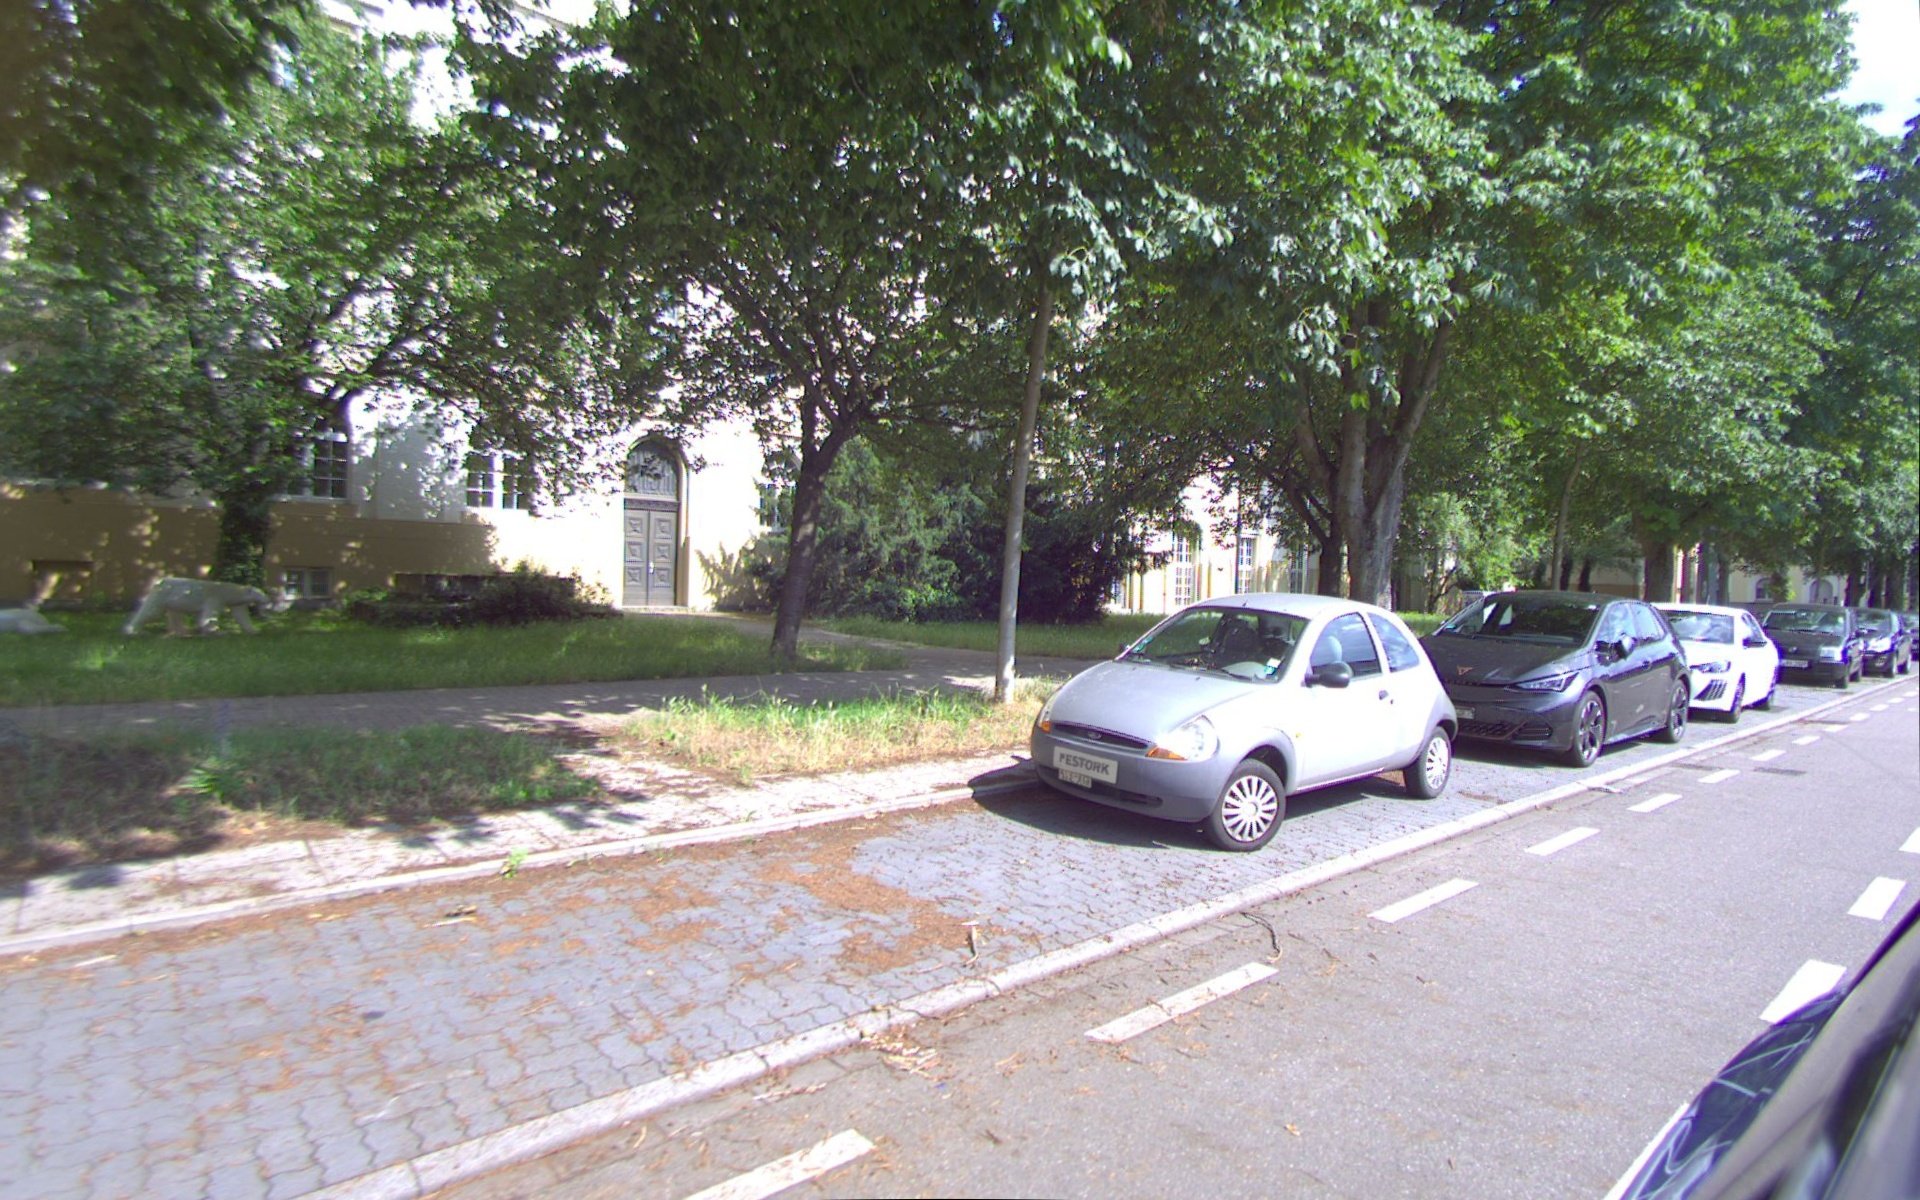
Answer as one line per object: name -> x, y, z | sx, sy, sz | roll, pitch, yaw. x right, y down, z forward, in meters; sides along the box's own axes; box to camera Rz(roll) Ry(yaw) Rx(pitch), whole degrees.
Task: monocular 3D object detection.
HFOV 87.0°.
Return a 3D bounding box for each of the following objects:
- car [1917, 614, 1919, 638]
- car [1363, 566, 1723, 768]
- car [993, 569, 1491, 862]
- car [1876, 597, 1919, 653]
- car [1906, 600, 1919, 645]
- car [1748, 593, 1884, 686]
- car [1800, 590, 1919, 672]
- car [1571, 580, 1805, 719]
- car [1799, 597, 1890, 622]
car -> 37.409, 0.770, 37.815 | 4.961, 1.458, 1.833 | 1, 4, -41
car -> 6.159, 0.540, 10.439 | 4.594, 1.602, 1.729 | 1, 3, -41
car -> 2.086, 0.582, 7.021 | 3.535, 1.462, 1.594 | 0, 4, -41
car -> 29.153, 0.733, 30.610 | 4.753, 1.484, 1.833 | -1, 5, -45
car -> 33.641, 0.821, 34.343 | 3.942, 1.448, 1.641 | 1, 4, -39
car -> 16.738, 0.688, 19.741 | 3.499, 1.478, 1.558 | -1, 6, -44
car -> 20.667, 0.647, 23.001 | 4.232, 1.580, 1.695 | 0, 5, -41
car -> 10.248, 0.578, 14.122 | 4.182, 1.542, 1.838 | 0, 4, -44
car -> 67.230, 0.668, 77.017 | 1.820, 1.676, 4.841 | -1, 2, -30
